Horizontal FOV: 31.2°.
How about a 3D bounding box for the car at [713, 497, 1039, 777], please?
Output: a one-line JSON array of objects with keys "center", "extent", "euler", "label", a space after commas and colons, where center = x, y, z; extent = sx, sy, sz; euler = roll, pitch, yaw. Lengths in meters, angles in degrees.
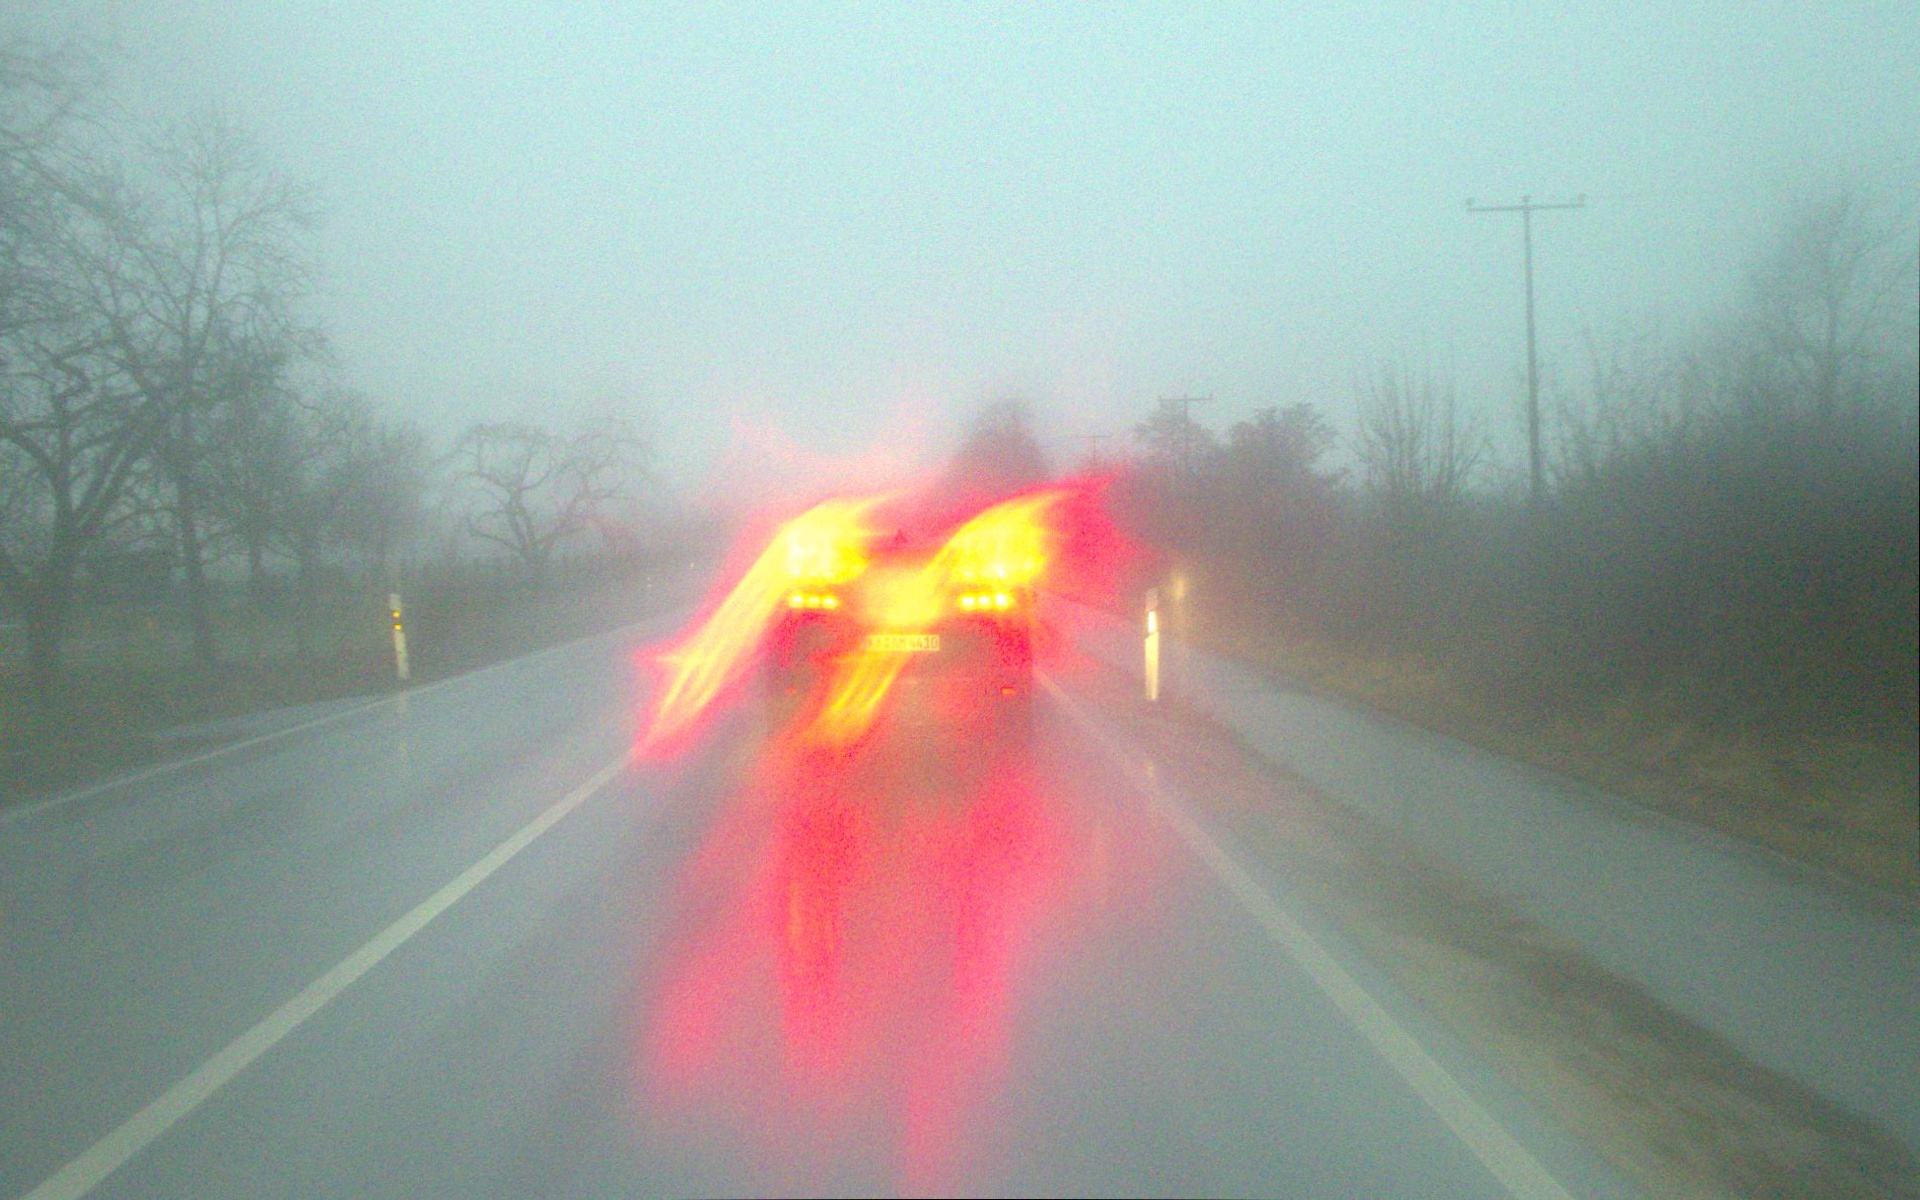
[{"center": [-0.580, 0.195, 24.864], "extent": [2.120, 1.813, 4.980], "euler": [0, 1, -1], "label": "car"}]
